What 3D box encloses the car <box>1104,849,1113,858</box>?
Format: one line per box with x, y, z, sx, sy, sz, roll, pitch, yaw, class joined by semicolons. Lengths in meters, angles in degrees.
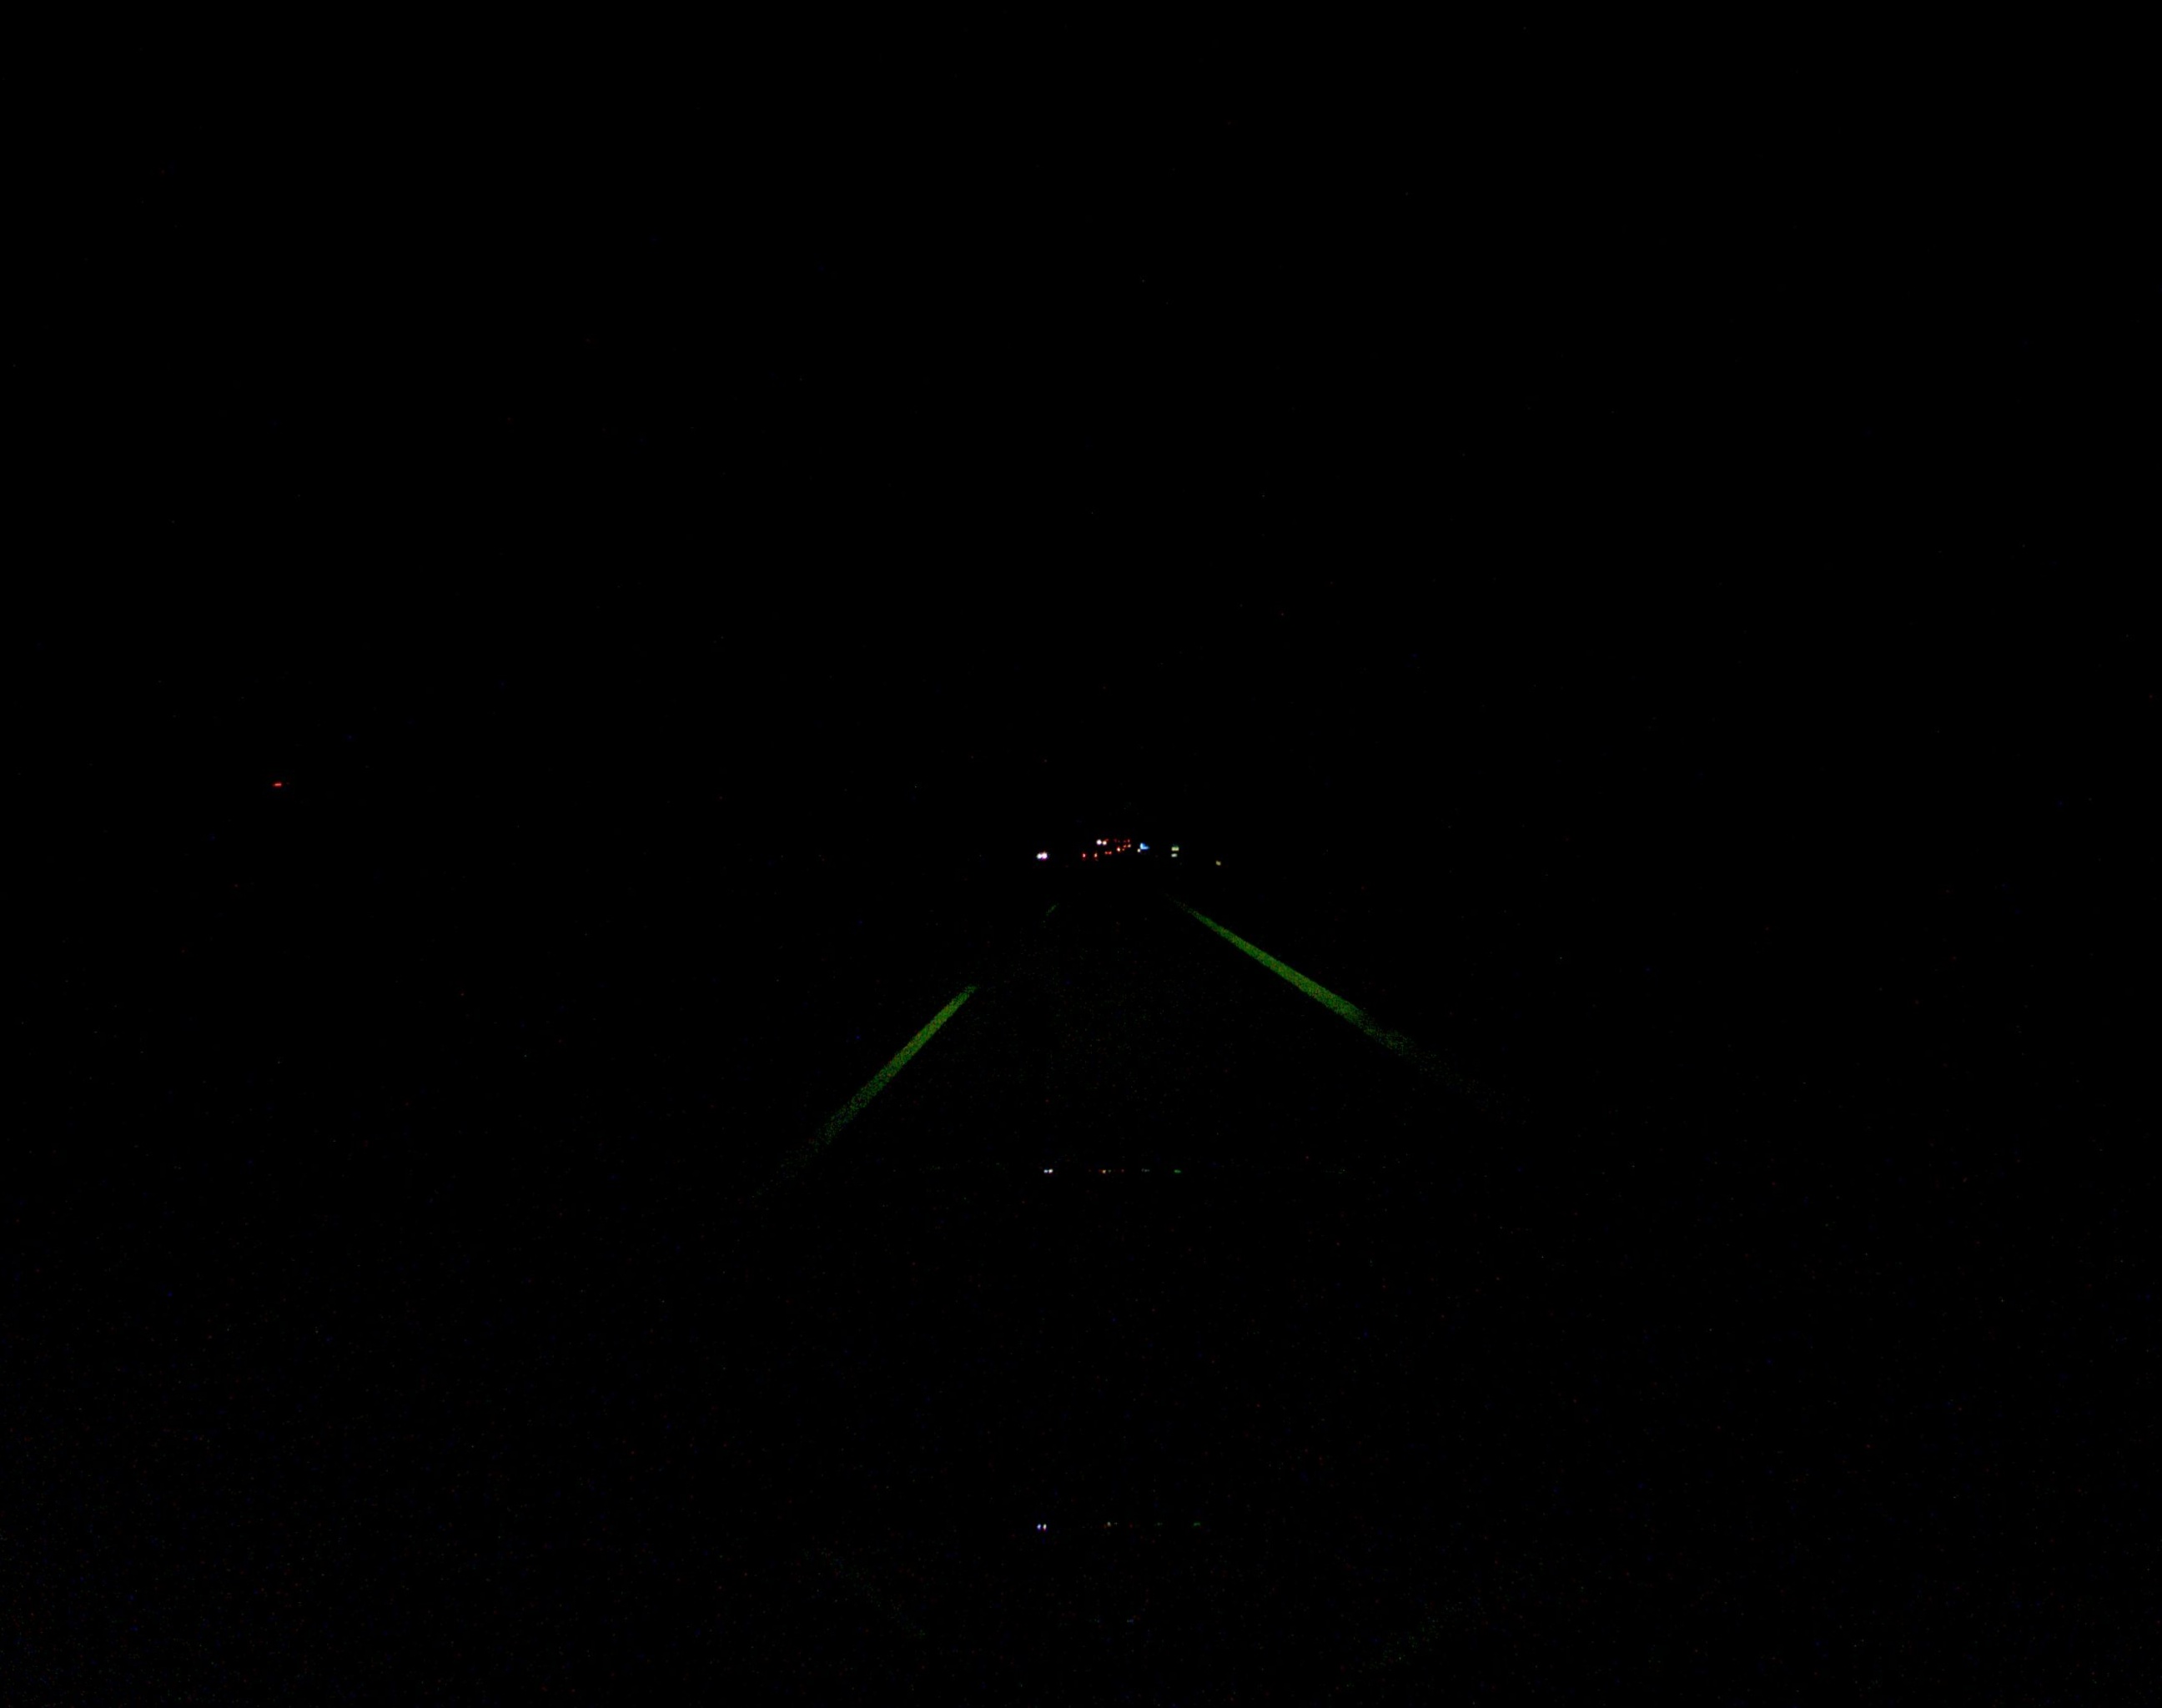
8.652;-0.192;259.736;2.776;2.733;6.302;-1;-1;2;car

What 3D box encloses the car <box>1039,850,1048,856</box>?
-11.088;-0.308;240.396;1.985;1.745;5.076;-1;0;3;car

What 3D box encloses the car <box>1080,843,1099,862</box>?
1.327;-0.178;127.039;2.777;2.733;6.298;-1;-1;0;car
